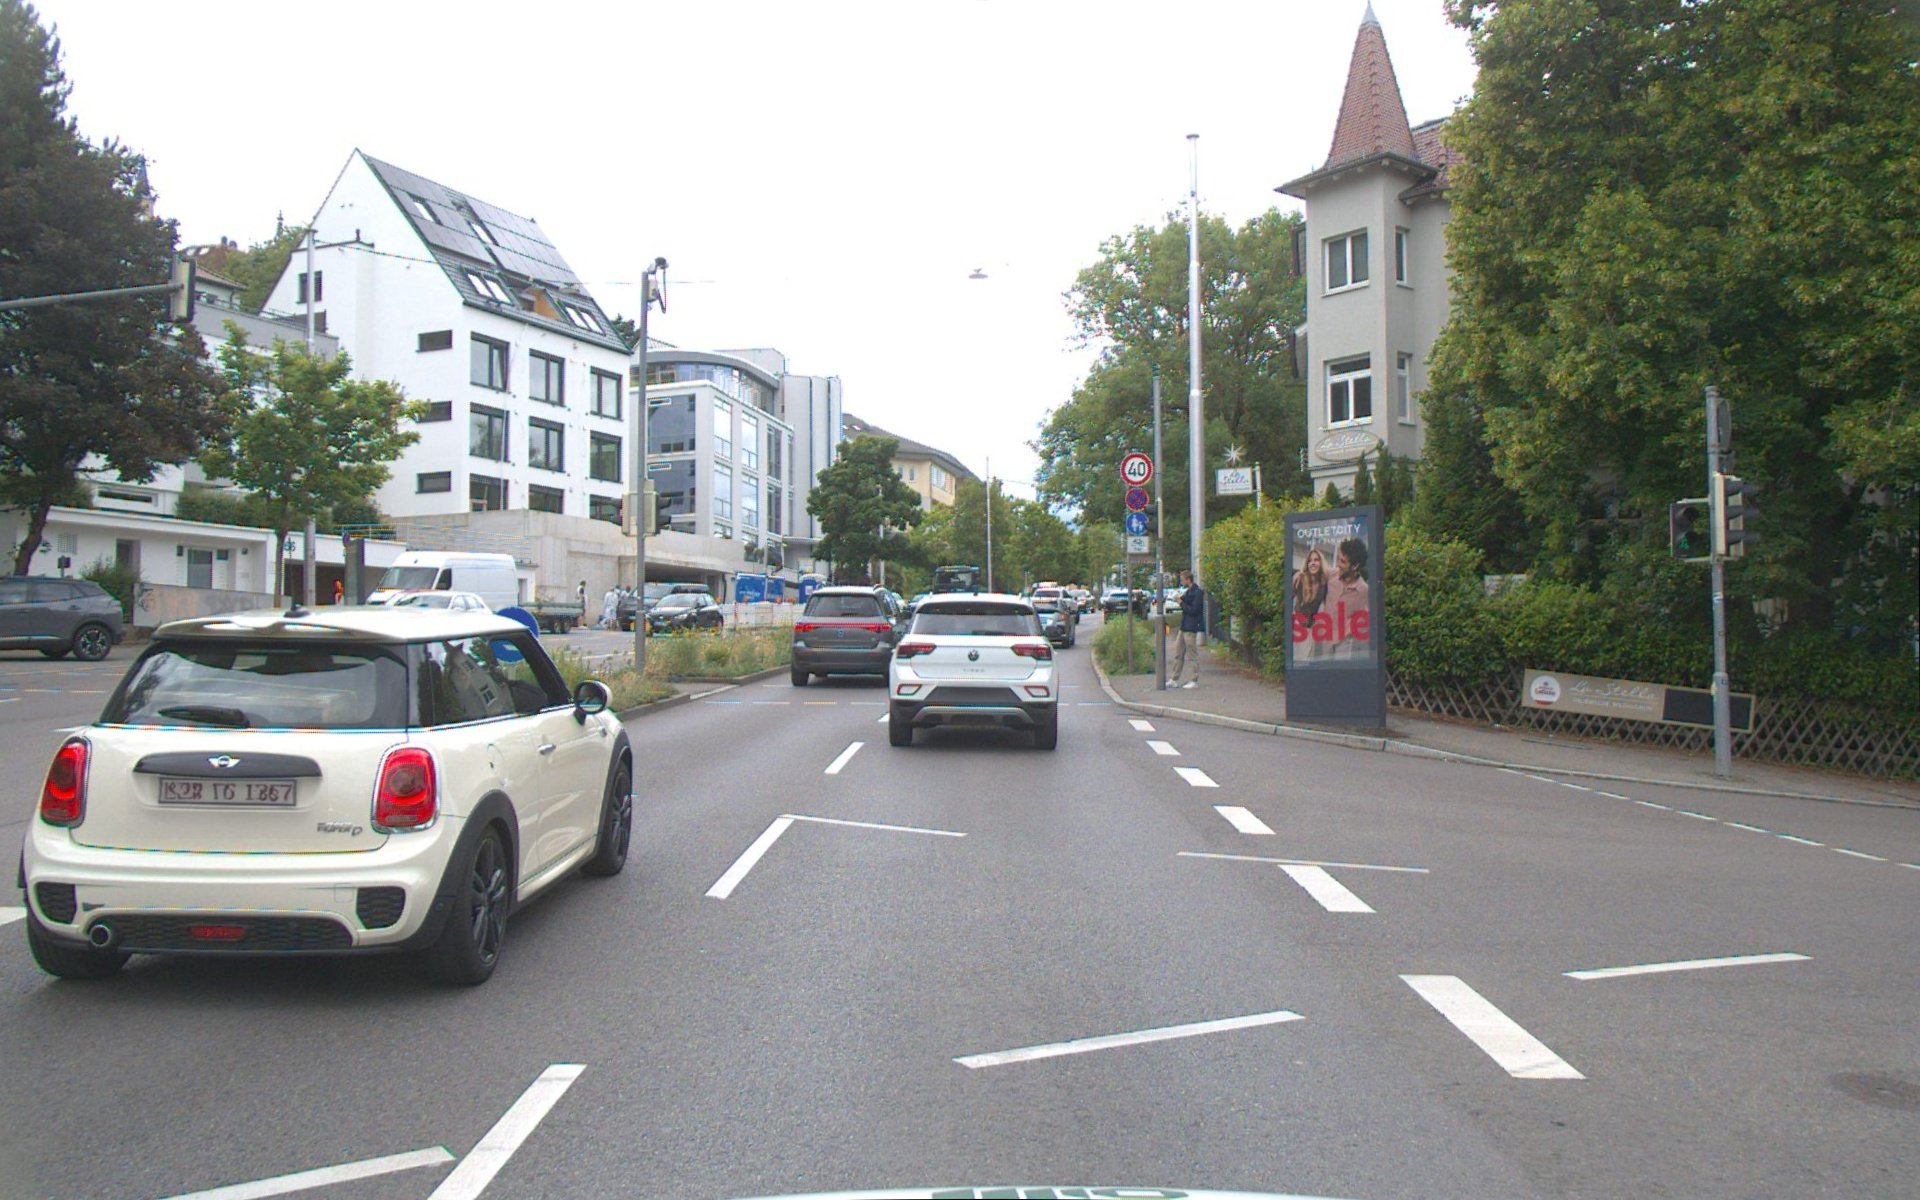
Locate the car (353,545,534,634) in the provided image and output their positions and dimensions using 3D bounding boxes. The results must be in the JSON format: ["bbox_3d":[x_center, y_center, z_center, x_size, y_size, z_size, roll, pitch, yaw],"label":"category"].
[{"bbox_3d":[-16.070,-0.310,52.056,2.183,2.613,7.428,0,0,11],"label":"car"}]

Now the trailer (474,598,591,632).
[{"bbox_3d":[-14.912,0.495,57.977,2.198,1.131,4.626,0,0,11],"label":"trailer"}]

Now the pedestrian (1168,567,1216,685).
[{"bbox_3d":[3.729,0.419,26.659,0.678,1.866,0.620,1,0,2],"label":"pedestrian"}]

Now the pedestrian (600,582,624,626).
[{"bbox_3d":[-13.578,0.152,64.502,0.669,1.669,0.663,2,0,-37],"label":"pedestrian"}]

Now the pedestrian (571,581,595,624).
[{"bbox_3d":[-14.678,0.092,64.427,0.612,1.669,0.672,2,0,17],"label":"pedestrian"}]

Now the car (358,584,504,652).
[{"bbox_3d":[-12.128,0.413,38.218,1.616,1.417,4.147,2,0,6],"label":"car"}]

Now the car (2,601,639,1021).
[{"bbox_3d":[-2.555,0.726,7.512,1.595,1.418,3.564,-1,0,-2],"label":"car"}]

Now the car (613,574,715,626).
[{"bbox_3d":[-11.729,0.000,65.935,1.940,2.001,5.222,0,0,16],"label":"car"}]

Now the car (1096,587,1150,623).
[{"bbox_3d":[7.609,0.254,76.906,1.833,1.527,4.558,3,0,13],"label":"car"}]

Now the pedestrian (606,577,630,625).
[{"bbox_3d":[-13.567,0.038,65.621,0.669,1.872,0.663,2,0,-37],"label":"pedestrian"}]

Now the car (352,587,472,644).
[{"bbox_3d":[-14.944,0.395,45.323,1.587,1.491,3.929,0,0,7],"label":"car"}]

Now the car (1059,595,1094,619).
[{"bbox_3d":[7.723,0.439,109.308,1.659,1.523,4.490,1,0,13],"label":"car"}]

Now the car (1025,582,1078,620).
[{"bbox_3d":[4.224,0.026,75.580,1.818,1.681,4.640,-1,0,11],"label":"car"}]

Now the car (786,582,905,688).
[{"bbox_3d":[-1.922,0.557,28.950,1.776,1.681,4.635,-1,0,-1],"label":"car"}]

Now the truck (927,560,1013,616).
[{"bbox_3d":[0.692,-0.669,94.584,2.898,3.023,8.985,1,0,14],"label":"truck"}]

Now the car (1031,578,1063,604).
[{"bbox_3d":[8.056,-0.815,152.973,2.024,2.346,5.469,0,0,13],"label":"car"}]

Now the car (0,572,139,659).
[{"bbox_3d":[-17.576,0.282,30.490,1.569,1.567,4.112,0,0,39],"label":"car"}]

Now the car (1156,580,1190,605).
[{"bbox_3d":[13.492,-0.449,104.606,1.818,1.527,4.059,-1,0,11],"label":"car"}]

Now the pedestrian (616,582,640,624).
[{"bbox_3d":[-13.395,0.122,66.711,0.669,1.669,0.663,2,0,-37],"label":"pedestrian"}]

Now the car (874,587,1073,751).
[{"bbox_3d":[0.045,0.671,17.962,1.776,1.566,3.685,-1,0,-6],"label":"car"}]

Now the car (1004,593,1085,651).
[{"bbox_3d":[2.531,0.639,48.731,1.833,1.527,4.558,3,0,9],"label":"car"}]

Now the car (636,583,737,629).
[{"bbox_3d":[-9.161,0.222,55.700,1.592,1.417,3.857,2,0,20],"label":"car"}]
